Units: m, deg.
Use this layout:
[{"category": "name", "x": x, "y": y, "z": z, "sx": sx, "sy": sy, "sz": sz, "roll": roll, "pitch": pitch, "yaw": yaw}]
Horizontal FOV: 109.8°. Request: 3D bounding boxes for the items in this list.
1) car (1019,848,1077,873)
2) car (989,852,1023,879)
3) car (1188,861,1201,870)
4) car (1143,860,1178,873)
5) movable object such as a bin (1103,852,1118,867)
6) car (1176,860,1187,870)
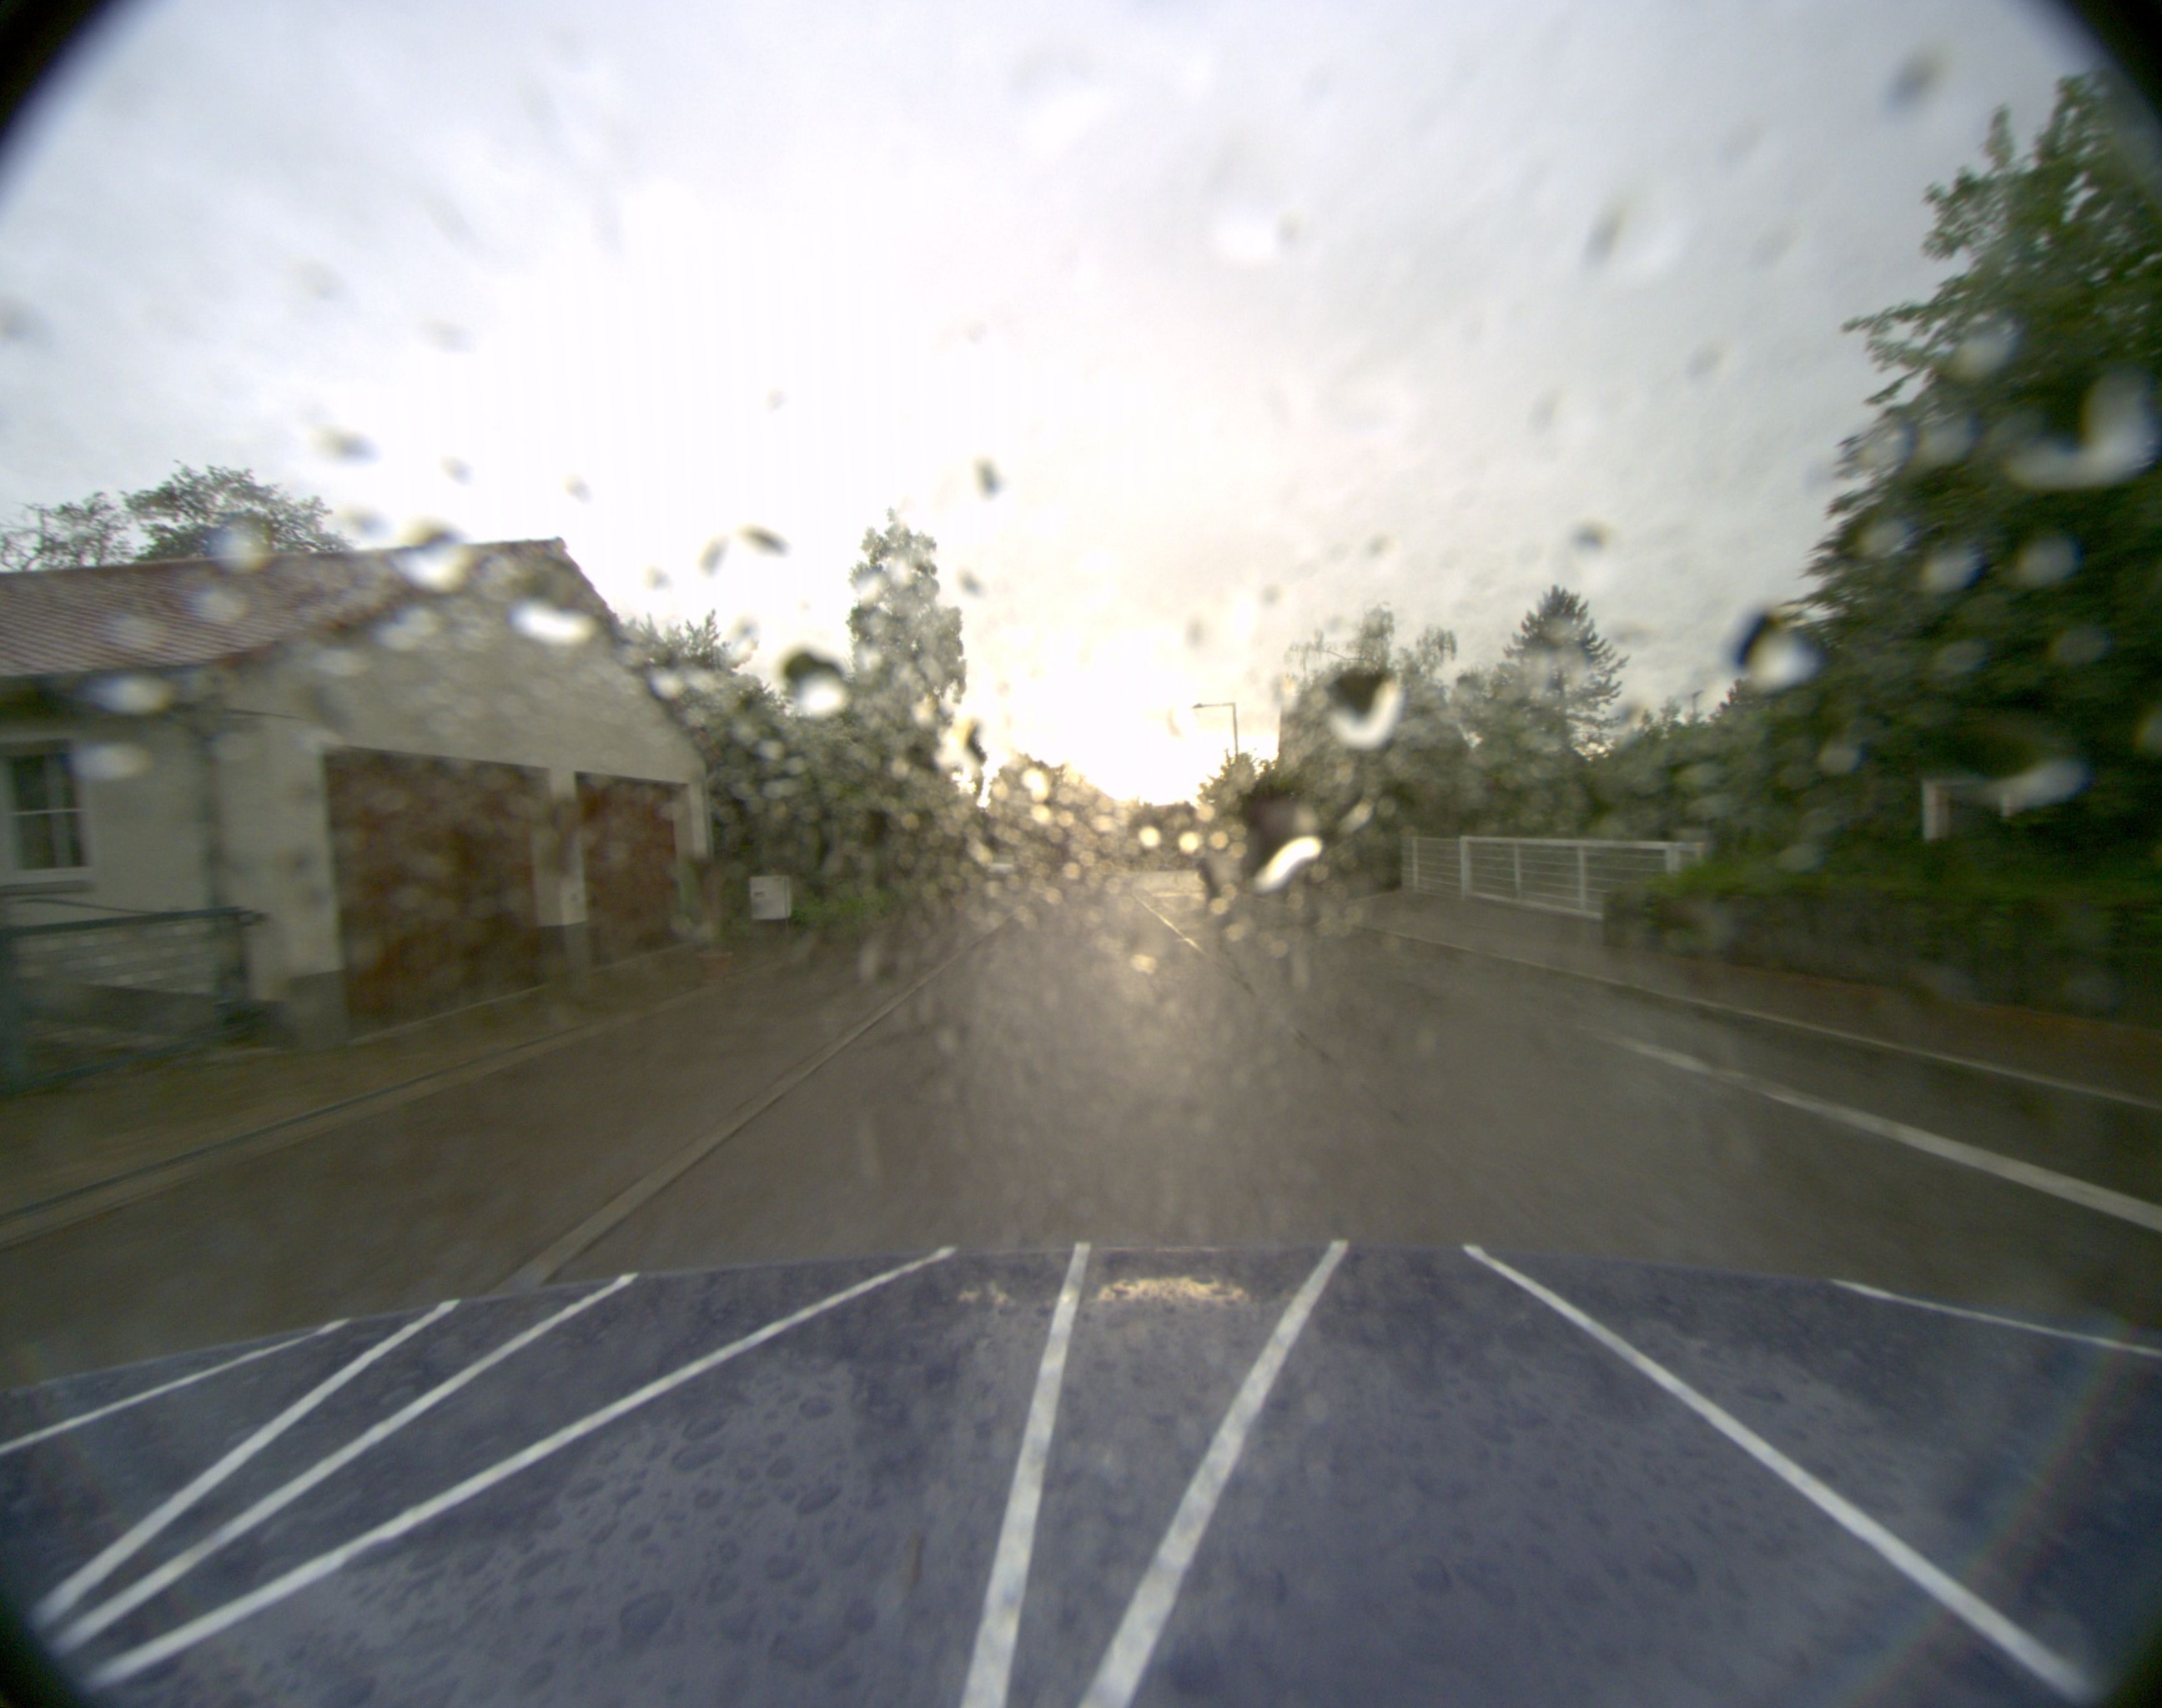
[{"category": "car", "x": -2.694, "y": 0.560, "z": 62.316, "sx": 4.335, "sy": 1.706, "sz": 1.731, "roll": -5, "pitch": 0, "yaw": 29}, {"category": "car", "x": -4.377, "y": 0.638, "z": 44.846, "sx": 1.535, "sy": 1.526, "sz": 3.846, "roll": 0, "pitch": 0, "yaw": 2}, {"category": "car", "x": 20.983, "y": 2.102, "z": 140.646, "sx": 1.723, "sy": 1.554, "sz": 3.793, "roll": 0, "pitch": 2, "yaw": 1}, {"category": "car", "x": 10.908, "y": 1.710, "z": 104.370, "sx": 4.533, "sy": 1.650, "sz": 1.858, "roll": -1, "pitch": -2, "yaw": 11}, {"category": "movable object such as a bin", "x": 3.034, "y": 0.594, "z": 77.870, "sx": 1.245, "sy": 1.488, "sz": 0.982, "roll": -1, "pitch": -1, "yaw": -17}, {"category": "car", "x": 18.510, "y": 2.099, "z": 140.285, "sx": 1.794, "sy": 1.584, "sz": 4.256, "roll": 0, "pitch": 2, "yaw": 5}]
